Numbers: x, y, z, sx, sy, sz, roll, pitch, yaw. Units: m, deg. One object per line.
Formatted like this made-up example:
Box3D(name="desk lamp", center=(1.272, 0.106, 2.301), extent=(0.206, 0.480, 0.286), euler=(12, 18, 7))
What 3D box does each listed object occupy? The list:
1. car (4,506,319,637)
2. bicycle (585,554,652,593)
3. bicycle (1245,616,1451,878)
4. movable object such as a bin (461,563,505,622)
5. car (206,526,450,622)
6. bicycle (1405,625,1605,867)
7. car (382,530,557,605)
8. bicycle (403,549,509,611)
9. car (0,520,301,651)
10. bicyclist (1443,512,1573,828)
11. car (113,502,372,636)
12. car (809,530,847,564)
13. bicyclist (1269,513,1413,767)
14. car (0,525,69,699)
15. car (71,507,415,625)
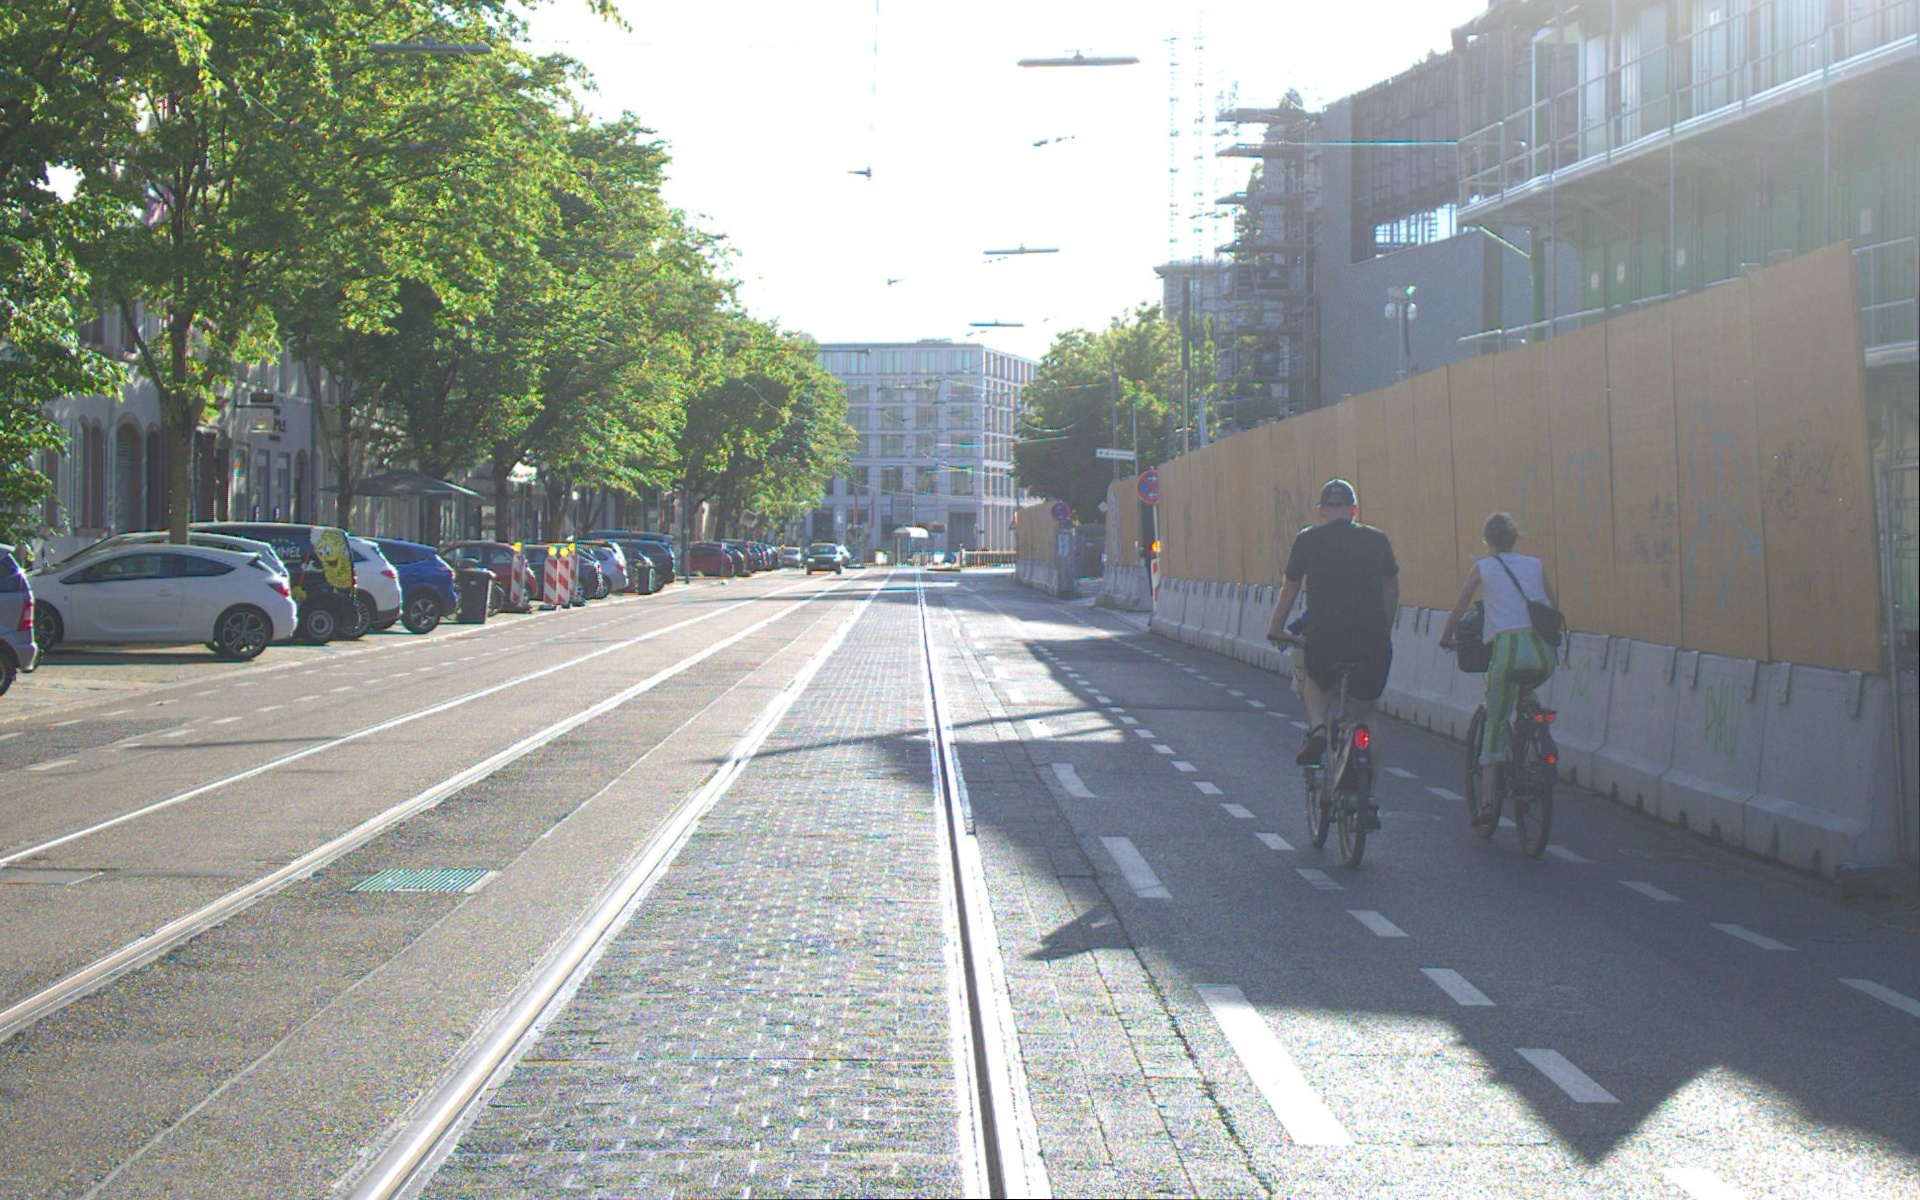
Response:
Box3D(name="car", center=(-11.514, -0.409, 49.609), extent=(3.986, 1.651, 1.811), euler=(2, 1, -30))
Box3D(name="bicycle", center=(-10.645, -0.839, 107.217), extent=(1.965, 1.140, 0.493), euler=(2, 0, -18))
Box3D(name="bicycle", center=(1.901, 0.688, 17.135), extent=(0.667, 1.150, 2.276), euler=(2, 1, -2))
Box3D(name="movable object such as a bin", center=(-9.223, -0.150, 66.487), extent=(0.683, 1.074, 0.710), euler=(4, 1, 1))
Box3D(name="car", center=(-10.996, -0.480, 59.913), extent=(3.890, 1.603, 1.573), euler=(-1, 1, -37))
Box3D(name="bicycle", center=(2.818, 0.722, 17.980), extent=(0.557, 1.123, 2.276), euler=(-1, 1, -3))
Box3D(name="car", center=(-11.309, -0.752, 79.267), extent=(3.612, 1.548, 1.669), euler=(2, 2, -26))
Box3D(name="bicycle", center=(-10.288, -0.409, 70.224), extent=(2.003, 1.084, 0.567), euler=(5, 1, 2))
Box3D(name="car", center=(-10.713, -0.192, 45.395), extent=(3.634, 1.524, 1.887), euler=(3, 0, -20))
Box3D(name="bicyclist", center=(2.837, 0.350, 17.826), extent=(0.556, 1.607, 0.576), euler=(0, 1, -2))
Box3D(name="car", center=(-10.905, -0.438, 52.307), extent=(3.434, 1.837, 1.733), euler=(2, -3, -33))
Box3D(name="car", center=(-7.035, -2.849, 184.035), extent=(1.927, 1.624, 4.249), euler=(-2, 2, -1))
Box3D(name="bicyclist", center=(1.871, 0.192, 16.900), extent=(0.651, 1.233, 0.353), euler=(0, 1, -2))
Box3D(name="car", center=(-11.037, 0.068, 33.988), extent=(3.987, 1.671, 1.703), euler=(1, 1, 0))
Box3D(name="car", center=(-11.418, -0.545, 54.947), extent=(4.927, 1.788, 2.208), euler=(0, 1, -42))
